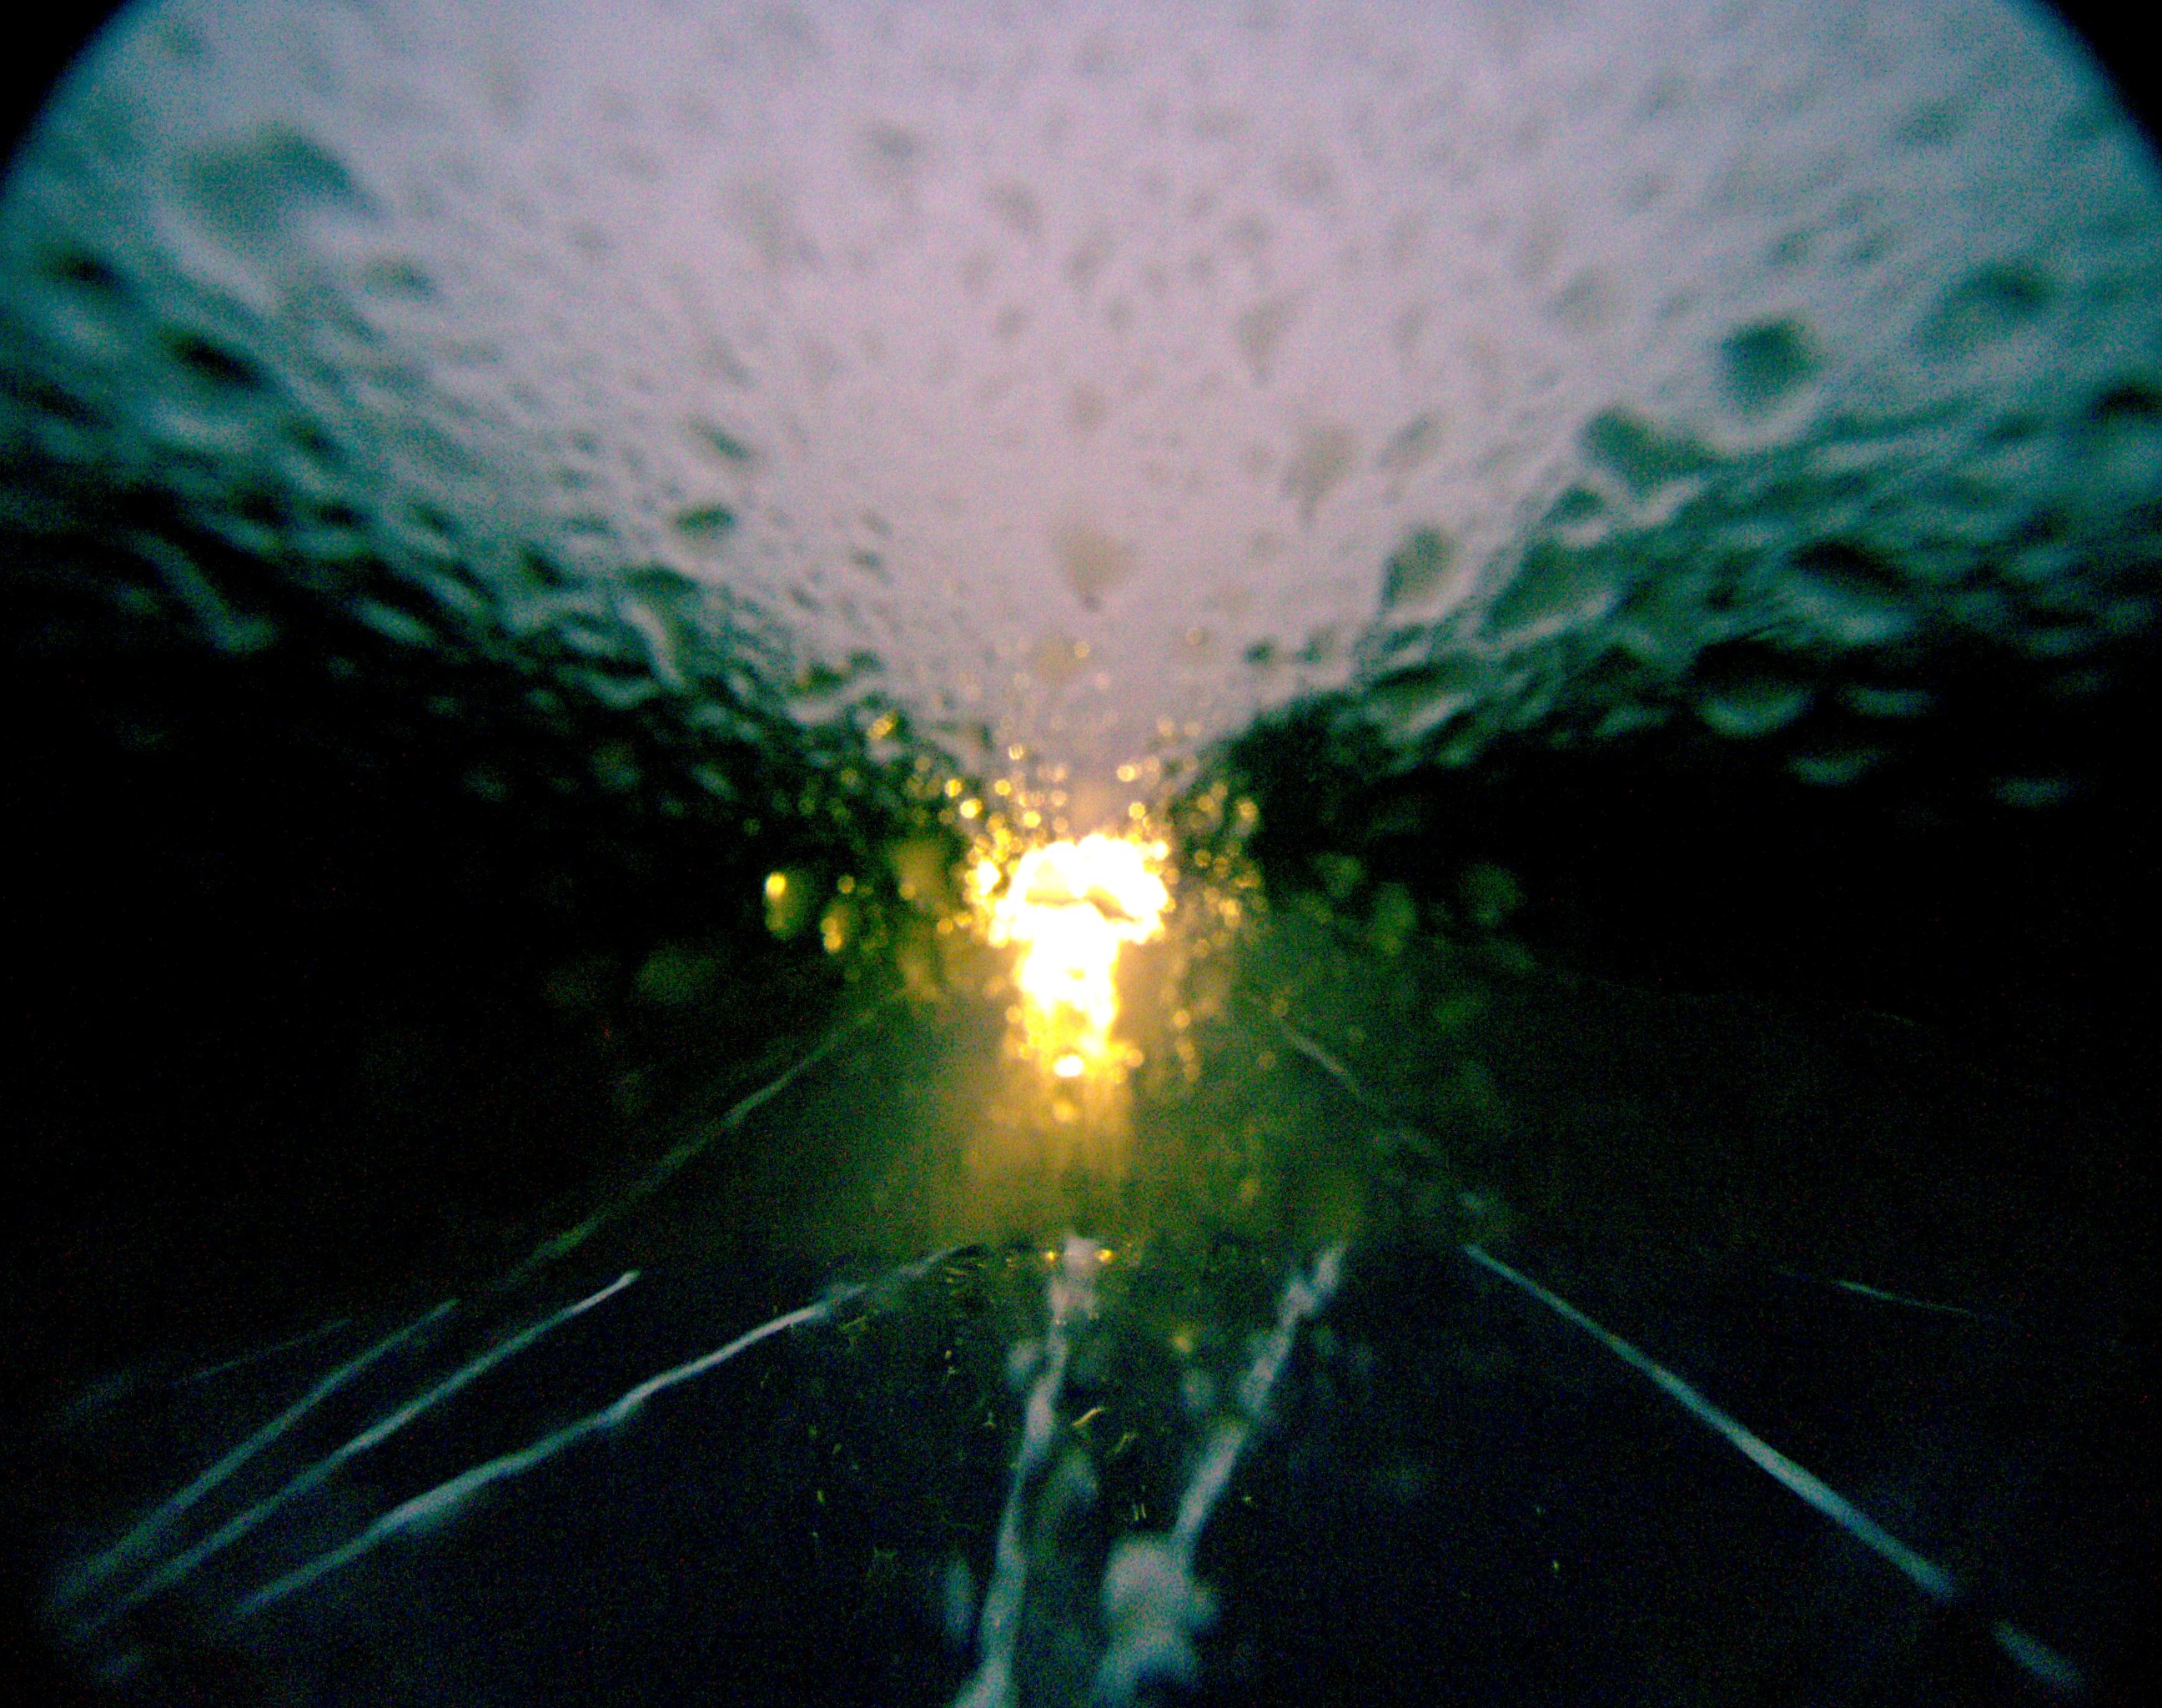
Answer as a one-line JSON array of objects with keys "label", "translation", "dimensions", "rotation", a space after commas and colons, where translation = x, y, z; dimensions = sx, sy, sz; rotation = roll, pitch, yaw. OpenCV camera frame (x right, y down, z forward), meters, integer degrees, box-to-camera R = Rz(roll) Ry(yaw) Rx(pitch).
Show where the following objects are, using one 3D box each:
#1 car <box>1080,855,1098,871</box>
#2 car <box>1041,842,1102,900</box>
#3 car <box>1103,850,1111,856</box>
[{"label": "car", "translation": [0.984, 1.105, 92.618], "dimensions": [1.998, 1.752, 4.371], "rotation": [-2, 1, 1]}, {"label": "car", "translation": [-0.240, 0.487, 24.989], "dimensions": [1.572, 1.701, 4.001], "rotation": [-2, 1, 5]}, {"label": "car", "translation": [7.018, -0.350, 206.792], "dimensions": [1.877, 1.597, 4.195], "rotation": [-1, 0, 0]}]
